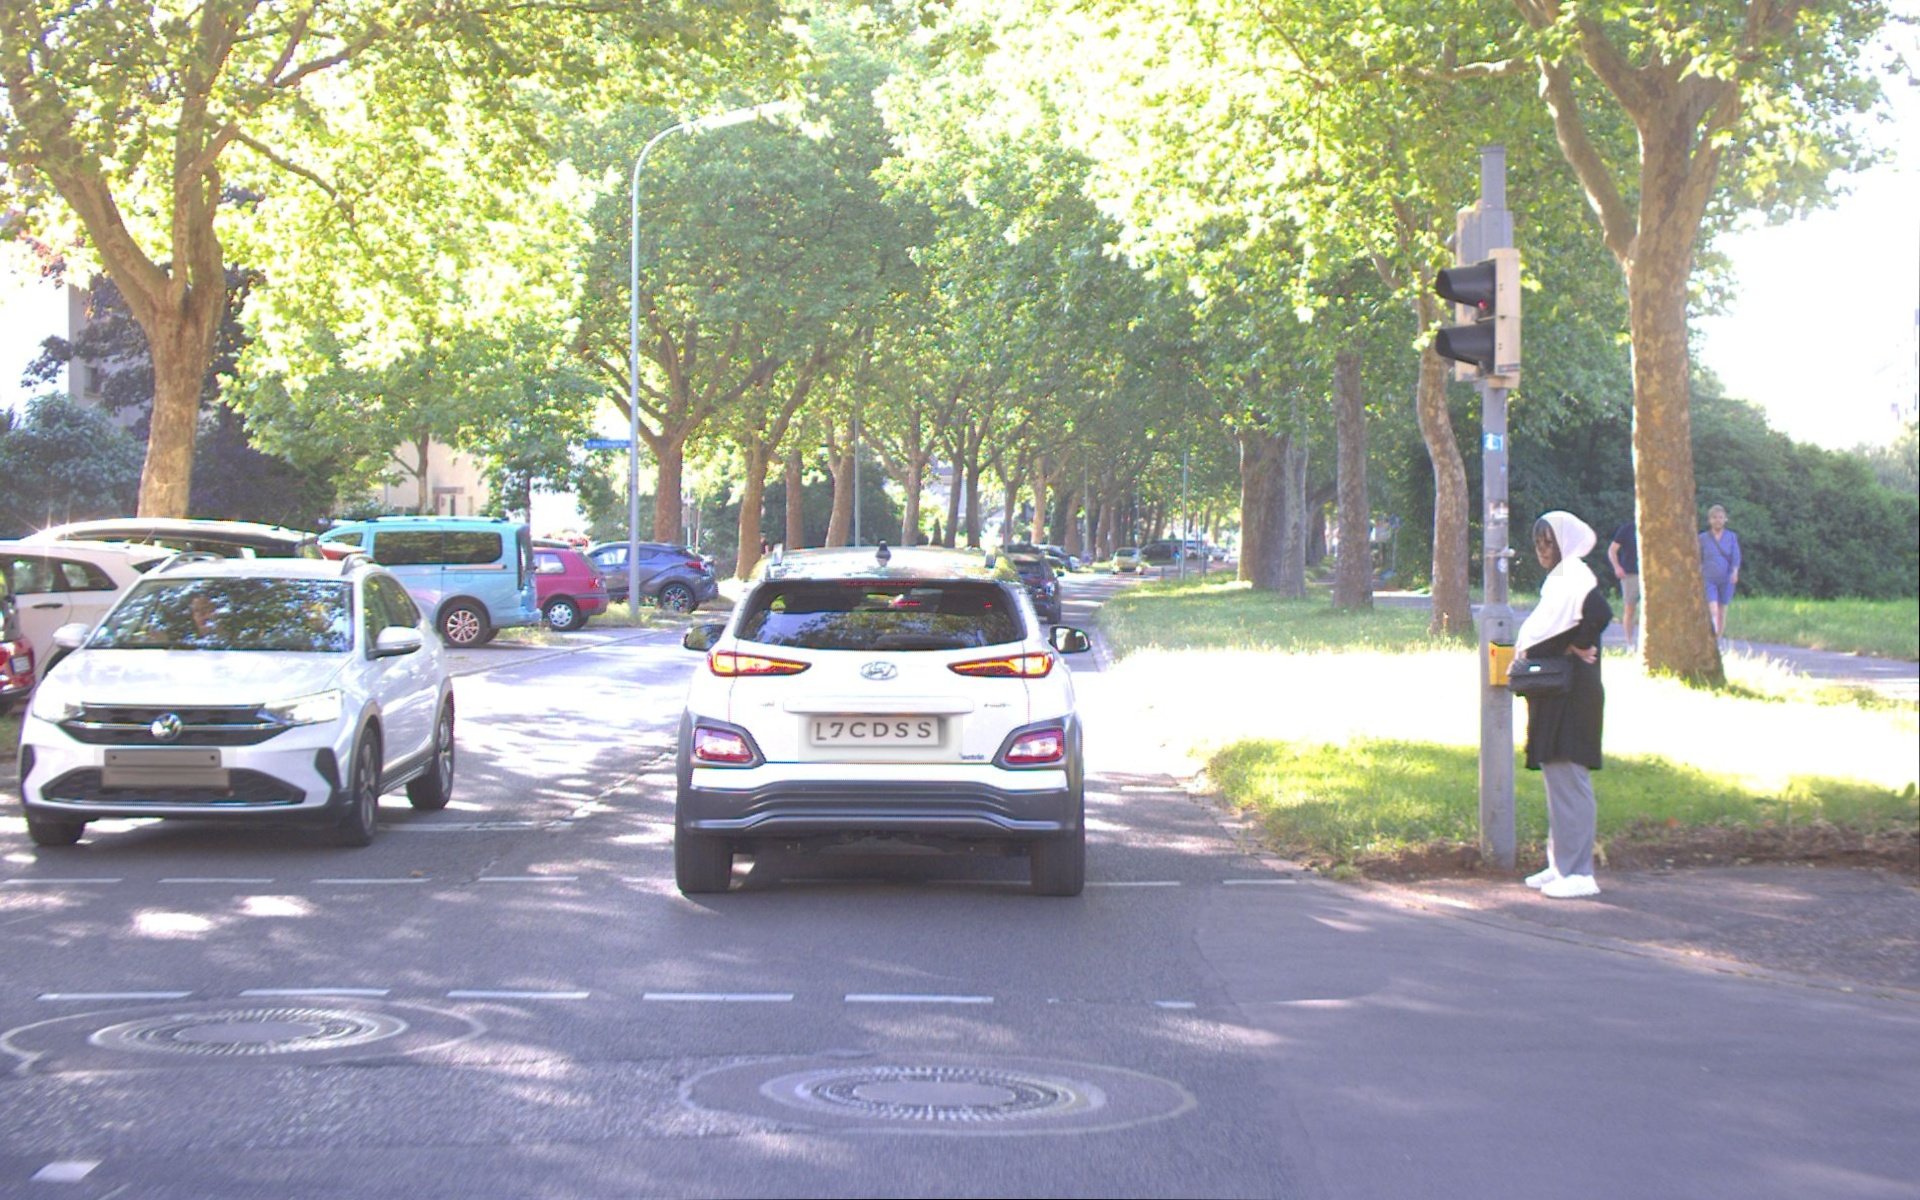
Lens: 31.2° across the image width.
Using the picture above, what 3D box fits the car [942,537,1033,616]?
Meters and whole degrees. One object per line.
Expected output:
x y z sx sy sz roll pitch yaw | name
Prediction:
0.583 -0.504 69.869 1.763 1.518 3.920 1 1 1 | car

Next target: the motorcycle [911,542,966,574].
-0.949 -1.848 150.945 2.385 1.383 0.648 1 0 1 | motorcycle

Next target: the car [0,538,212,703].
-9.067 0.164 32.126 3.758 1.478 1.754 0 1 0 | car

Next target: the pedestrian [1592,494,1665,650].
7.982 -0.336 41.060 0.761 1.839 0.787 0 1 4 | pedestrian

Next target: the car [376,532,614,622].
-7.974 -0.399 59.182 3.871 1.513 1.665 0 1 -1 | car

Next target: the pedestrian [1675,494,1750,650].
8.978 -0.336 41.039 0.754 1.841 0.802 0 1 4 | pedestrian

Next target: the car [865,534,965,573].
-1.929 -2.013 148.680 4.183 1.579 2.000 1 1 2 | car

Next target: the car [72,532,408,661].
-8.584 -0.057 41.185 3.642 1.511 1.782 0 1 1 | car

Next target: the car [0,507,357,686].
-8.243 -0.052 34.376 4.091 1.710 1.832 1 1 0 | car

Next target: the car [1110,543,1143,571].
8.893 -2.299 183.468 1.689 1.460 3.694 1 0 3 | car

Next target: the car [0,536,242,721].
-8.397 0.202 29.345 4.161 1.496 1.876 1 1 -2 | car

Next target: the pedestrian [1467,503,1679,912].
2.670 0.448 15.032 0.634 1.713 0.826 -2 1 -8 | pedestrian

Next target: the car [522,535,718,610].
-7.198 -0.595 73.070 3.988 1.513 1.817 1 1 -1 | car

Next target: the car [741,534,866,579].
-5.072 -1.410 111.573 3.826 1.312 1.790 2 1 4 | car

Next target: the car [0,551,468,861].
-3.882 0.490 18.891 1.716 1.496 4.094 1 1 1 | car

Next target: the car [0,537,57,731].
-8.976 0.216 26.981 3.339 1.475 1.695 1 1 -1 | car

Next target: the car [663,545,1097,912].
-0.414 0.524 16.548 1.835 1.550 4.000 0 1 -2 | car

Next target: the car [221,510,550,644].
-8.177 -0.339 49.211 4.385 1.818 1.996 1 1 -1 | car
